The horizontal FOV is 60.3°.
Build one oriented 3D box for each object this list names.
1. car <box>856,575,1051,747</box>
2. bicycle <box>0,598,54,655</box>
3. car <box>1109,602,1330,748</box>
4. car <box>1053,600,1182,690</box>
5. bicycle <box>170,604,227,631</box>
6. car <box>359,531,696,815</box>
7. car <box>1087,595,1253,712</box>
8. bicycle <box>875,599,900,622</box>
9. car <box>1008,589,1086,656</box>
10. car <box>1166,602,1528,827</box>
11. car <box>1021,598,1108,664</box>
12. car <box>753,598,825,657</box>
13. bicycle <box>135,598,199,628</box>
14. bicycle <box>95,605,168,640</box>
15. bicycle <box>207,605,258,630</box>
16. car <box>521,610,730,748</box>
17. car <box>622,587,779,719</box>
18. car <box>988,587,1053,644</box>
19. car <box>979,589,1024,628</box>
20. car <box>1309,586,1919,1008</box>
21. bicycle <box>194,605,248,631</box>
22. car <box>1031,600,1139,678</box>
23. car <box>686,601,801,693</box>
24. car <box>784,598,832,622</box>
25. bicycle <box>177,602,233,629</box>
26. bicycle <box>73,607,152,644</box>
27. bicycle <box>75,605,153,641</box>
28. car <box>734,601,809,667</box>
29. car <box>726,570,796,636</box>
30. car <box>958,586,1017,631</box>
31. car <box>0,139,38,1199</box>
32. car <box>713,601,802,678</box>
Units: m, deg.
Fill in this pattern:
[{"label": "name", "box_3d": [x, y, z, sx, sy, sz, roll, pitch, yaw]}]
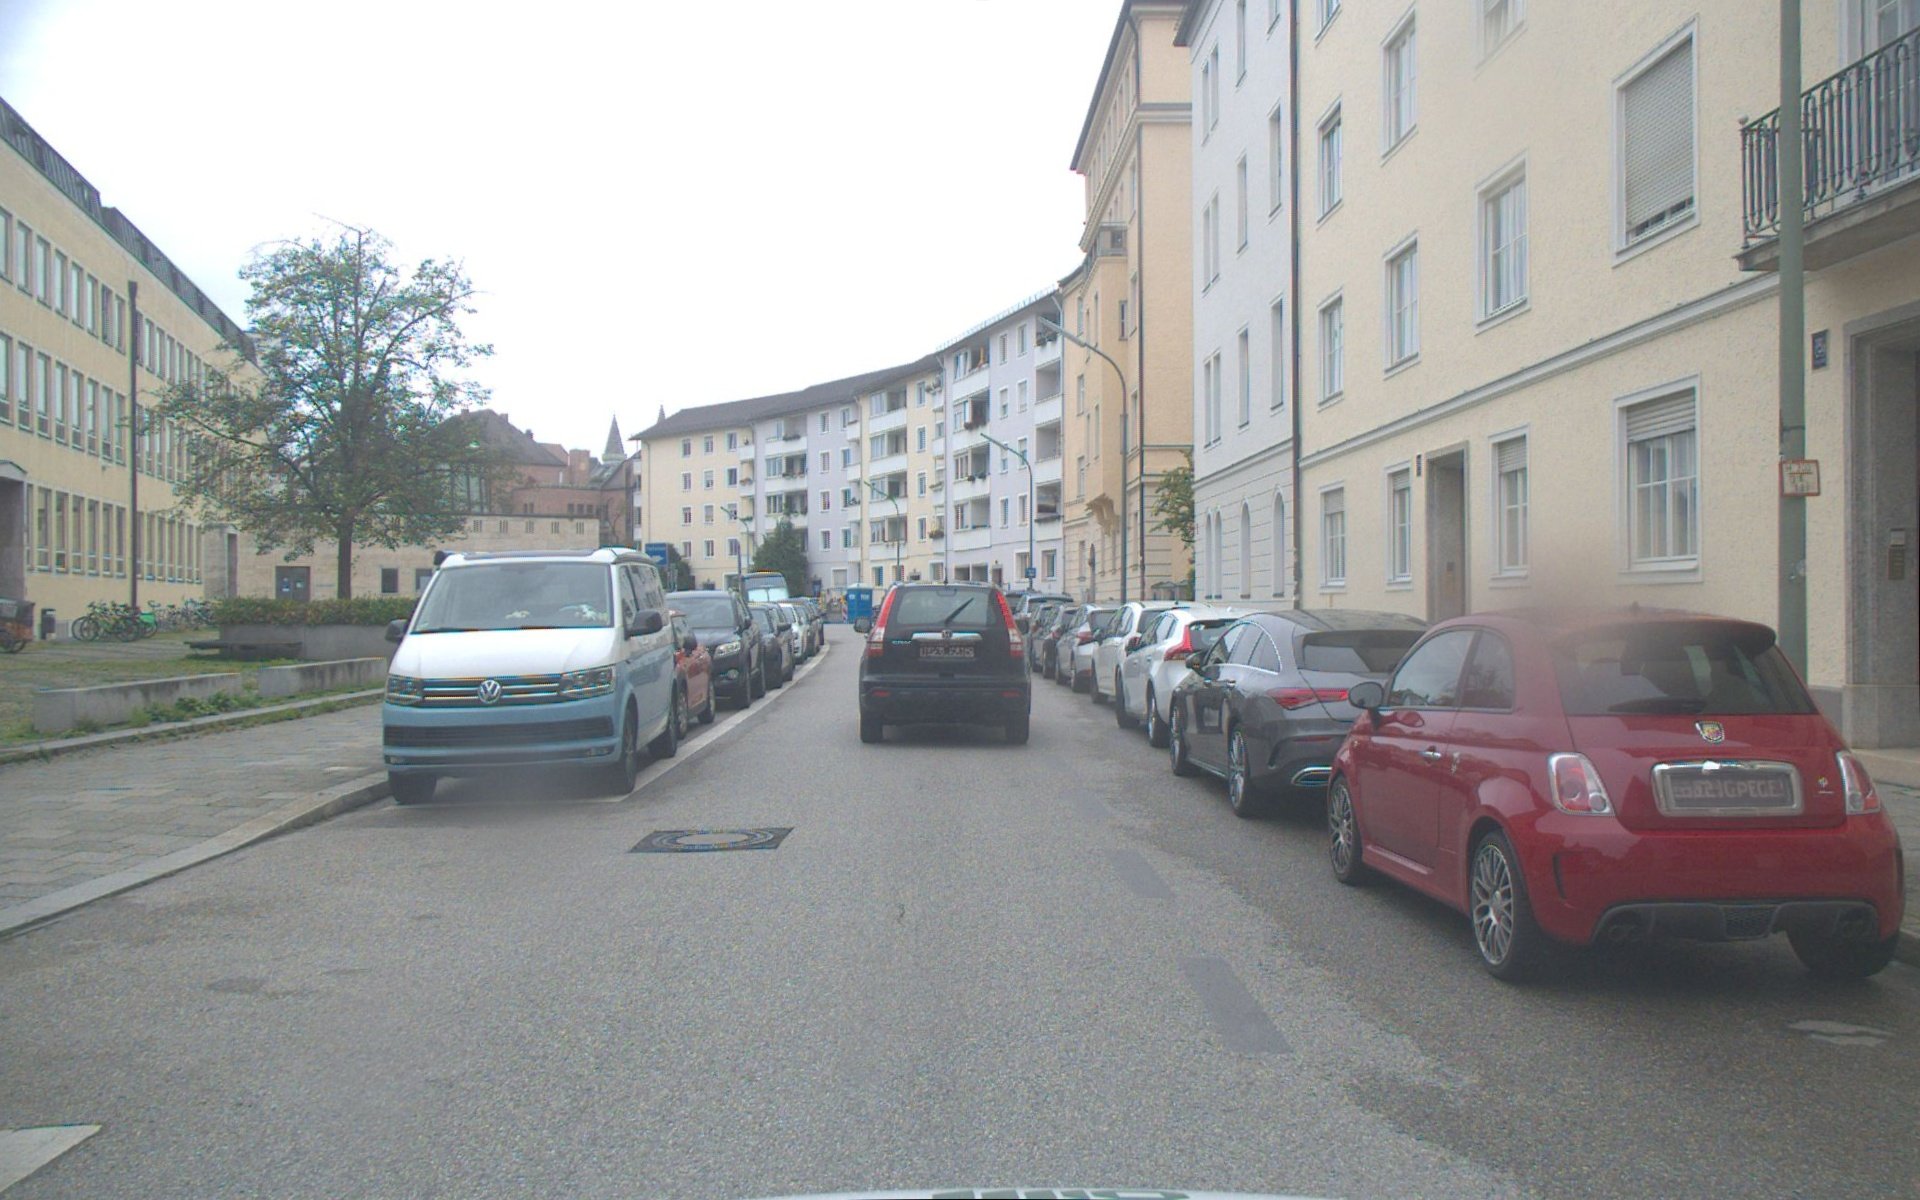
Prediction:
[{"label": "car", "box_3d": [-0.184, 0.599, 18.244, 1.854, 1.676, 3.987, 0, 0, -5]}, {"label": "bicycle", "box_3d": [-22.076, 0.598, 37.607, 2.397, 1.270, 1.051, 0, 0, -19]}, {"label": "car", "box_3d": [2.779, 0.753, 18.656, 1.645, 1.434, 4.441, 0, 0, -2]}, {"label": "car", "box_3d": [2.660, 0.730, 28.784, 1.645, 1.452, 4.164, 0, 0, -3]}, {"label": "bicycle", "box_3d": [-29.723, 0.673, 64.551, 1.912, 1.032, 0.624, 0, 0, -12]}, {"label": "car", "box_3d": [-3.552, 0.533, 14.571, 1.890, 2.013, 5.018, -2, 0, -4]}, {"label": "car", "box_3d": [2.887, 0.695, 23.548, 1.645, 1.507, 4.164, 0, 0, -3]}, {"label": "bicycle", "box_3d": [-4.495, 0.663, 102.433, 0.953, 1.413, 2.552, 0, 0, -17]}, {"label": "car", "box_3d": [2.242, 0.576, 43.699, 1.687, 1.663, 4.456, 0, 0, -2]}, {"label": "car", "box_3d": [2.774, 0.744, 12.878, 1.645, 1.434, 4.420, 0, 0, -2]}, {"label": "car", "box_3d": [2.379, 0.697, 38.629, 1.645, 1.452, 4.085, 0, 0, -2]}, {"label": "car", "box_3d": [-4.705, 0.721, 45.910, 1.720, 1.479, 4.393, -2, 0, -3]}, {"label": "bicycle", "box_3d": [-27.973, 0.465, 58.380, 1.910, 1.032, 0.624, 0, 0, -8]}, {"label": "bicycle", "box_3d": [-25.430, 0.692, 50.791, 1.914, 1.032, 0.623, 0, 0, -16]}, {"label": "bicycle", "box_3d": [-30.346, 0.720, 69.035, 1.920, 1.032, 0.621, 0, 0, -23]}, {"label": "car", "box_3d": [-3.779, 0.838, 19.311, 1.708, 1.411, 3.917, 0, 0, -1]}, {"label": "car", "box_3d": [-3.785, 0.720, 24.820, 1.709, 1.695, 4.447, -4, 0, -2]}, {"label": "car", "box_3d": [1.910, 0.494, 53.688, 1.831, 1.747, 4.864, 1, 0, -1]}, {"label": "car", "box_3d": [1.620, 0.339, 65.765, 1.673, 1.472, 3.829, 1, 0, 0]}, {"label": "car", "box_3d": [2.966, 0.718, 7.958, 1.645, 1.524, 3.822, 0, 0, -2]}, {"label": "bicycle", "box_3d": [-30.202, 0.719, 67.617, 1.915, 1.032, 0.623, 0, 0, -16]}, {"label": "car", "box_3d": [2.443, 0.733, 33.359, 1.645, 1.452, 4.388, 0, 0, -3]}, {"label": "car", "box_3d": [-3.857, 0.800, 29.969, 1.646, 1.479, 3.868, -2, 0, -2]}, {"label": "car", "box_3d": [-9.866, 0.634, 107.079, 1.705, 1.509, 3.961, 0, 0, -29]}, {"label": "bicycle", "box_3d": [-29.137, 0.597, 63.851, 1.917, 1.032, 0.622, 0, 0, -19]}, {"label": "bicycle", "box_3d": [-24.309, 0.739, 47.454, 1.912, 1.032, 0.624, 0, 0, -12]}, {"label": "bicycle", "box_3d": [-24.648, 0.659, 48.212, 1.914, 1.032, 0.623, 0, 0, -16]}, {"label": "car", "box_3d": [-4.639, 0.809, 41.033, 1.624, 1.479, 4.069, -2, 0, -4]}, {"label": "car", "box_3d": [-8.685, 0.119, 71.870, 2.128, 2.688, 5.993, -2, 0, -15]}, {"label": "car", "box_3d": [1.150, 0.370, 70.674, 1.745, 1.838, 4.266, 1, 0, -10]}, {"label": "car", "box_3d": [-3.556, 0.212, 1.429, 2.250, 2.692, 5.653, -2, 0, 0]}, {"label": "car", "box_3d": [-4.251, 0.792, 35.212, 1.624, 1.479, 3.971, -2, 0, -4]}]
